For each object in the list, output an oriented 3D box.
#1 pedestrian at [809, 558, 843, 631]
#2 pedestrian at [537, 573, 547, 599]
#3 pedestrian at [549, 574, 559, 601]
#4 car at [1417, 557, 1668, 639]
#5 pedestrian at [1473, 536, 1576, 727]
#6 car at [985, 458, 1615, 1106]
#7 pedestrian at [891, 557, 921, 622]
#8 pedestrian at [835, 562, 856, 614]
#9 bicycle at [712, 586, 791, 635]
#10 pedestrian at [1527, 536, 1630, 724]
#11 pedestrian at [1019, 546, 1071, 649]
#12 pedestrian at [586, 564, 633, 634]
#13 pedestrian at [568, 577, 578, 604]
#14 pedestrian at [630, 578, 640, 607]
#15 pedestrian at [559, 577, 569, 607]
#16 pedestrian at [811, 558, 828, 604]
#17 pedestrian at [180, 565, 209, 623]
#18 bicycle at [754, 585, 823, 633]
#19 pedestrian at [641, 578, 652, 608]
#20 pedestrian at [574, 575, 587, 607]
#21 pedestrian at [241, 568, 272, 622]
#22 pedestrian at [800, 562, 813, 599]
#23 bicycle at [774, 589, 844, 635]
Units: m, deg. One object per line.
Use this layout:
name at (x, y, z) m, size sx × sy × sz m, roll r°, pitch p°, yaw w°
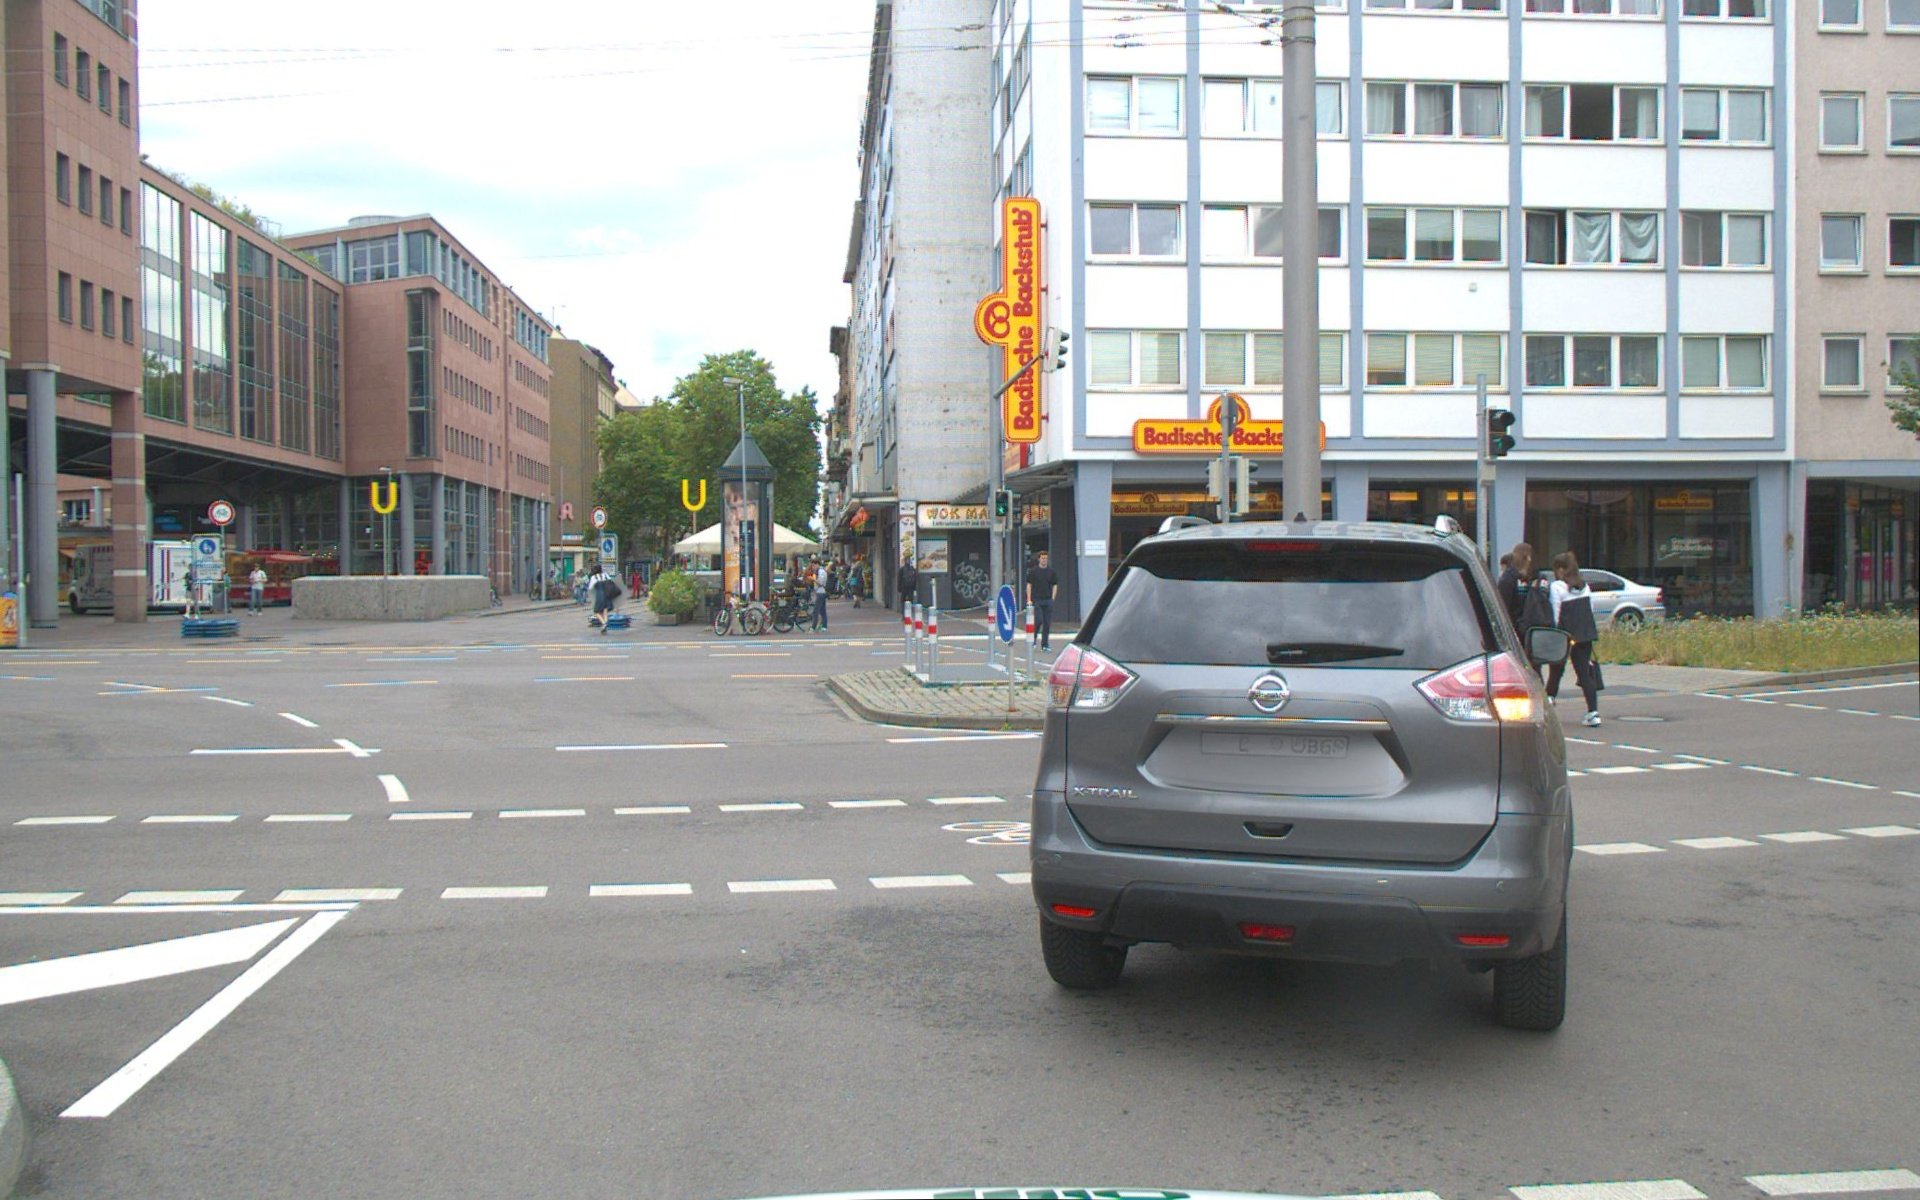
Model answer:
pedestrian at (-3.266, -0.136, 40.300) m, size 0.719 × 1.776 × 0.661 m, roll 0°, pitch 1°, yaw -13°
pedestrian at (-27.973, -0.956, 110.701) m, size 0.590 × 1.744 × 0.653 m, roll 0°, pitch 1°, yaw -13°
pedestrian at (-27.222, -0.839, 110.860) m, size 0.590 × 1.744 × 0.653 m, roll 0°, pitch 1°, yaw -13°
car at (11.704, -0.062, 33.333) m, size 4.466 × 1.507 × 1.745 m, roll -1°, pitch 1°, yaw -8°
pedestrian at (5.452, 0.292, 16.008) m, size 0.610 × 1.792 × 0.777 m, roll 0°, pitch 1°, yaw -13°
car at (1.644, 0.481, 7.062) m, size 1.824 × 1.806 × 4.569 m, roll 0°, pitch 1°, yaw 18°
pedestrian at (-1.458, -0.293, 44.788) m, size 0.695 × 1.734 × 0.735 m, roll 1°, pitch 1°, yaw 7°
pedestrian at (-4.183, -0.447, 60.420) m, size 0.724 × 1.853 × 0.661 m, roll -1°, pitch 1°, yaw -8°
bicycle at (-5.083, 0.251, 40.393) m, size 1.839 × 1.192 × 0.528 m, roll 0°, pitch 1°, yaw -20°
pedestrian at (6.047, 0.278, 16.206) m, size 0.610 × 1.792 × 0.777 m, roll 0°, pitch 1°, yaw -13°
pedestrian at (1.557, -0.049, 30.571) m, size 0.700 × 1.864 × 1.014 m, roll 0°, pitch 1°, yaw -13°
pedestrian at (-8.809, -0.033, 41.579) m, size 0.906 × 1.734 × 0.735 m, roll 1°, pitch 1°, yaw 14°
pedestrian at (-25.257, -0.651, 107.953) m, size 0.590 × 1.744 × 0.653 m, roll 0°, pitch 1°, yaw -13°
pedestrian at (-19.485, -0.459, 99.091) m, size 0.590 × 1.744 × 0.653 m, roll 0°, pitch 1°, yaw -13°
pedestrian at (-23.885, -0.485, 99.740) m, size 0.590 × 1.744 × 0.653 m, roll 0°, pitch 1°, yaw -13°
pedestrian at (-5.358, -0.719, 63.154) m, size 0.630 × 1.734 × 0.558 m, roll 0°, pitch 1°, yaw -5°
pedestrian at (-24.949, -0.201, 53.915) m, size 0.687 × 1.874 × 0.733 m, roll 0°, pitch 1°, yaw -8°
bicycle at (-4.273, 0.224, 41.218) m, size 1.666 × 1.192 × 0.436 m, roll 0°, pitch 1°, yaw -13°
pedestrian at (-18.808, -0.428, 99.252) m, size 0.590 × 1.744 × 0.653 m, roll 0°, pitch 1°, yaw -13°
pedestrian at (-18.771, -0.432, 81.755) m, size 0.590 × 1.563 × 0.653 m, roll 0°, pitch 1°, yaw -13°
pedestrian at (-24.782, -0.181, 58.279) m, size 0.685 × 1.874 × 0.735 m, roll 1°, pitch 1°, yaw 14°
pedestrian at (-7.153, -0.909, 77.196) m, size 0.599 × 1.734 × 0.619 m, roll 0°, pitch 1°, yaw -5°
bicycle at (-3.699, 0.292, 40.652) m, size 1.661 × 1.084 × 0.437 m, roll 1°, pitch 1°, yaw 1°
